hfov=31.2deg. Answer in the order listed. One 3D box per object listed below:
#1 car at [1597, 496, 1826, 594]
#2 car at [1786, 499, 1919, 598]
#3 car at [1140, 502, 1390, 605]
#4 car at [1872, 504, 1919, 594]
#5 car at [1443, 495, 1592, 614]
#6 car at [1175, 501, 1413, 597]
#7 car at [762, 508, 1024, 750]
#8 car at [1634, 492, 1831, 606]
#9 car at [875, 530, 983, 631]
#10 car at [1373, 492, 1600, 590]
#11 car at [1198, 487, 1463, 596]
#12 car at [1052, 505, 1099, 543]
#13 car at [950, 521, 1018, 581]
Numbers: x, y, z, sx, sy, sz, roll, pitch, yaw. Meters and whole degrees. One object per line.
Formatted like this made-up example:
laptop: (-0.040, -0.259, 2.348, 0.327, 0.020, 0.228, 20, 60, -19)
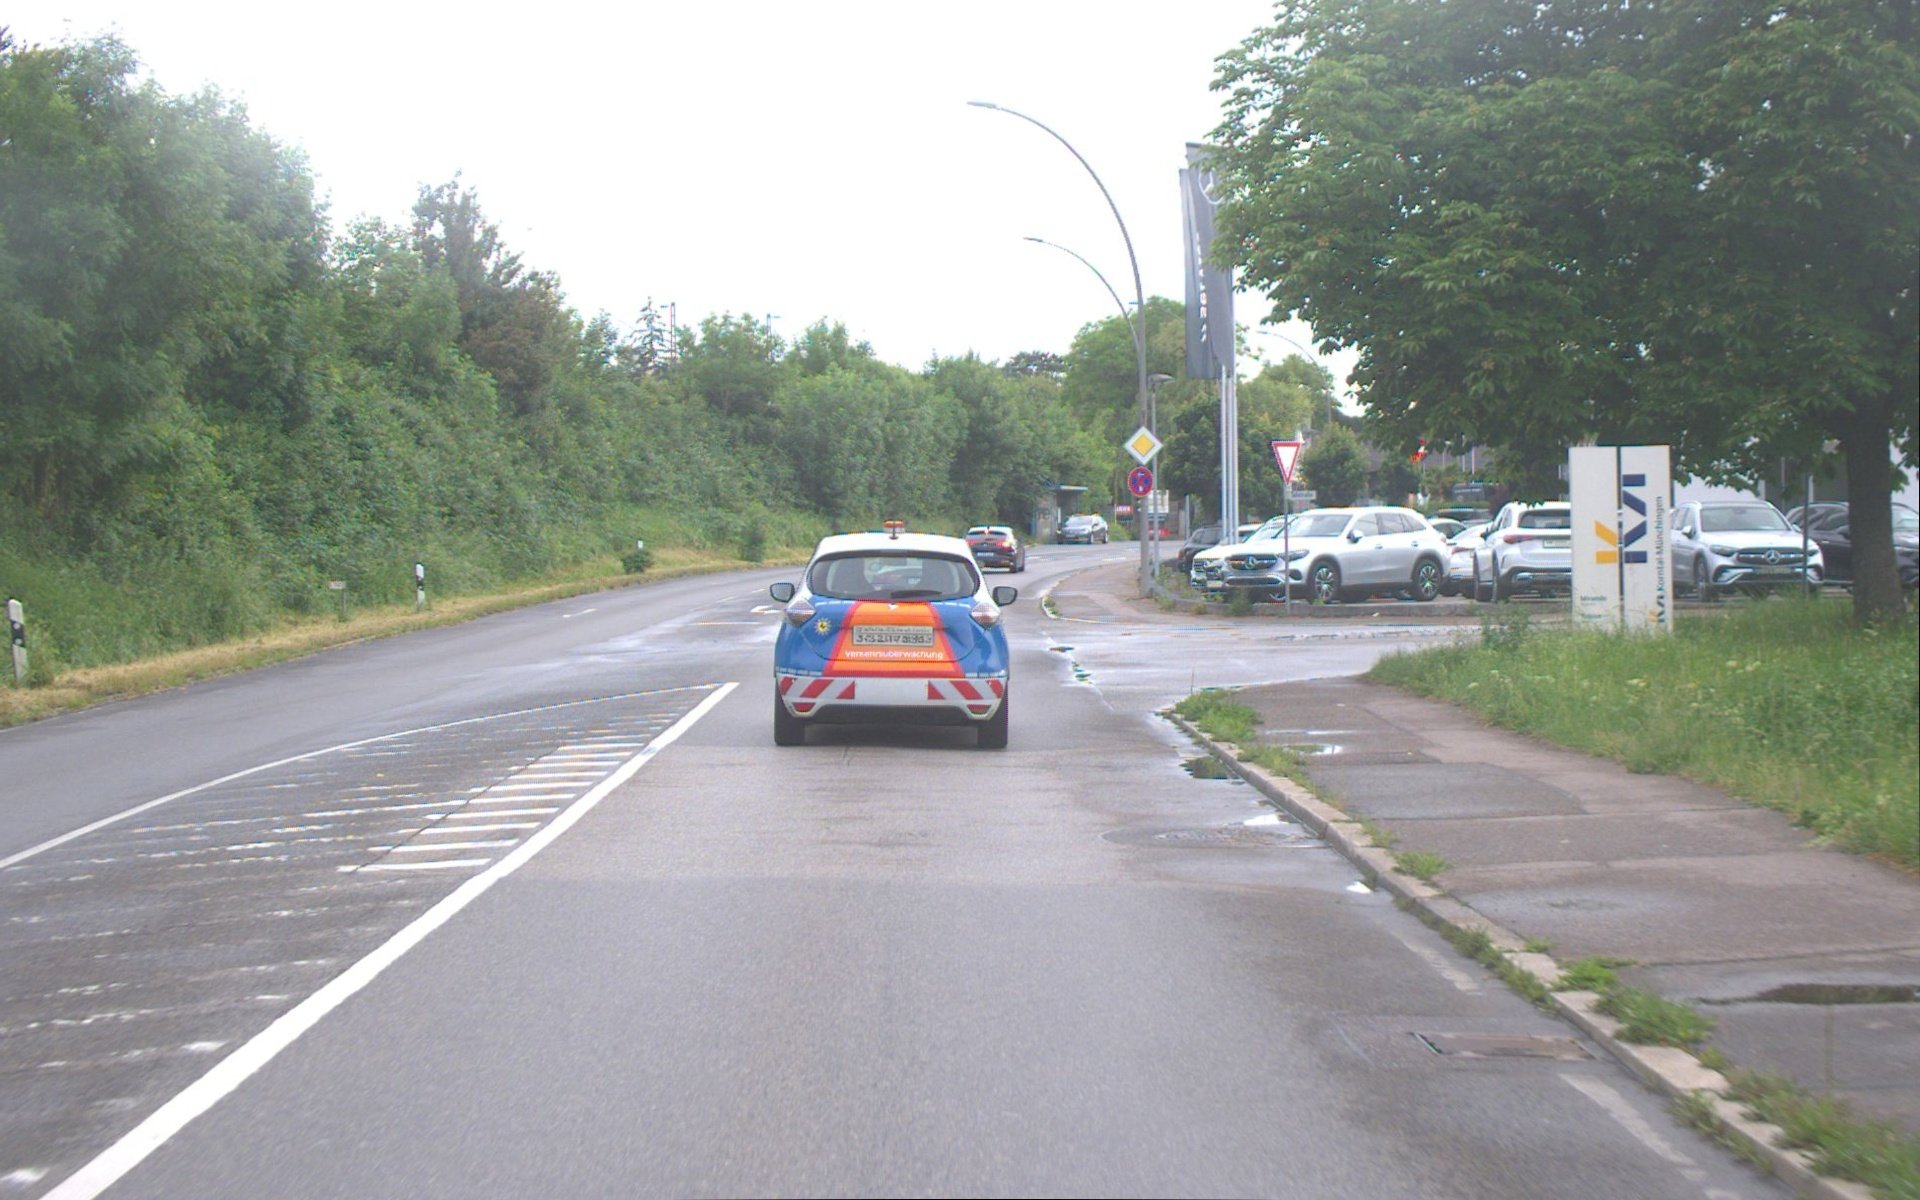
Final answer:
car: (13.907, -1.018, 63.489, 4.606, 1.745, 1.930, -1, 2, -45)
car: (15.674, -0.853, 58.006, 1.649, 1.597, 4.620, 1, 1, -10)
car: (5.559, -0.813, 62.302, 4.606, 1.745, 2.034, 1, -1, -45)
car: (17.888, -0.876, 60.701, 1.649, 1.597, 4.620, 1, 1, -10)
car: (9.026, -0.733, 55.931, 1.826, 1.823, 4.263, 1, 1, 2)
car: (6.503, -0.961, 66.710, 4.604, 1.745, 1.807, 1, -1, -37)
car: (-0.496, 0.183, 26.109, 1.806, 1.662, 3.856, 1, 1, -1)
car: (12.508, -0.821, 55.955, 1.936, 1.745, 4.619, 1, 1, -3)
car: (-0.504, -0.330, 57.213, 1.694, 1.590, 3.856, 1, 1, 0)
car: (9.778, -1.113, 63.649, 1.930, 1.745, 4.607, 2, 2, 42)
car: (6.393, -0.983, 58.945, 4.606, 1.745, 2.034, 1, 1, -45)
car: (5.815, -3.807, 172.773, 1.695, 1.784, 3.854, 1, 1, 12)
car: (0.759, -1.494, 105.677, 1.694, 1.784, 3.855, 1, 0, 6)
